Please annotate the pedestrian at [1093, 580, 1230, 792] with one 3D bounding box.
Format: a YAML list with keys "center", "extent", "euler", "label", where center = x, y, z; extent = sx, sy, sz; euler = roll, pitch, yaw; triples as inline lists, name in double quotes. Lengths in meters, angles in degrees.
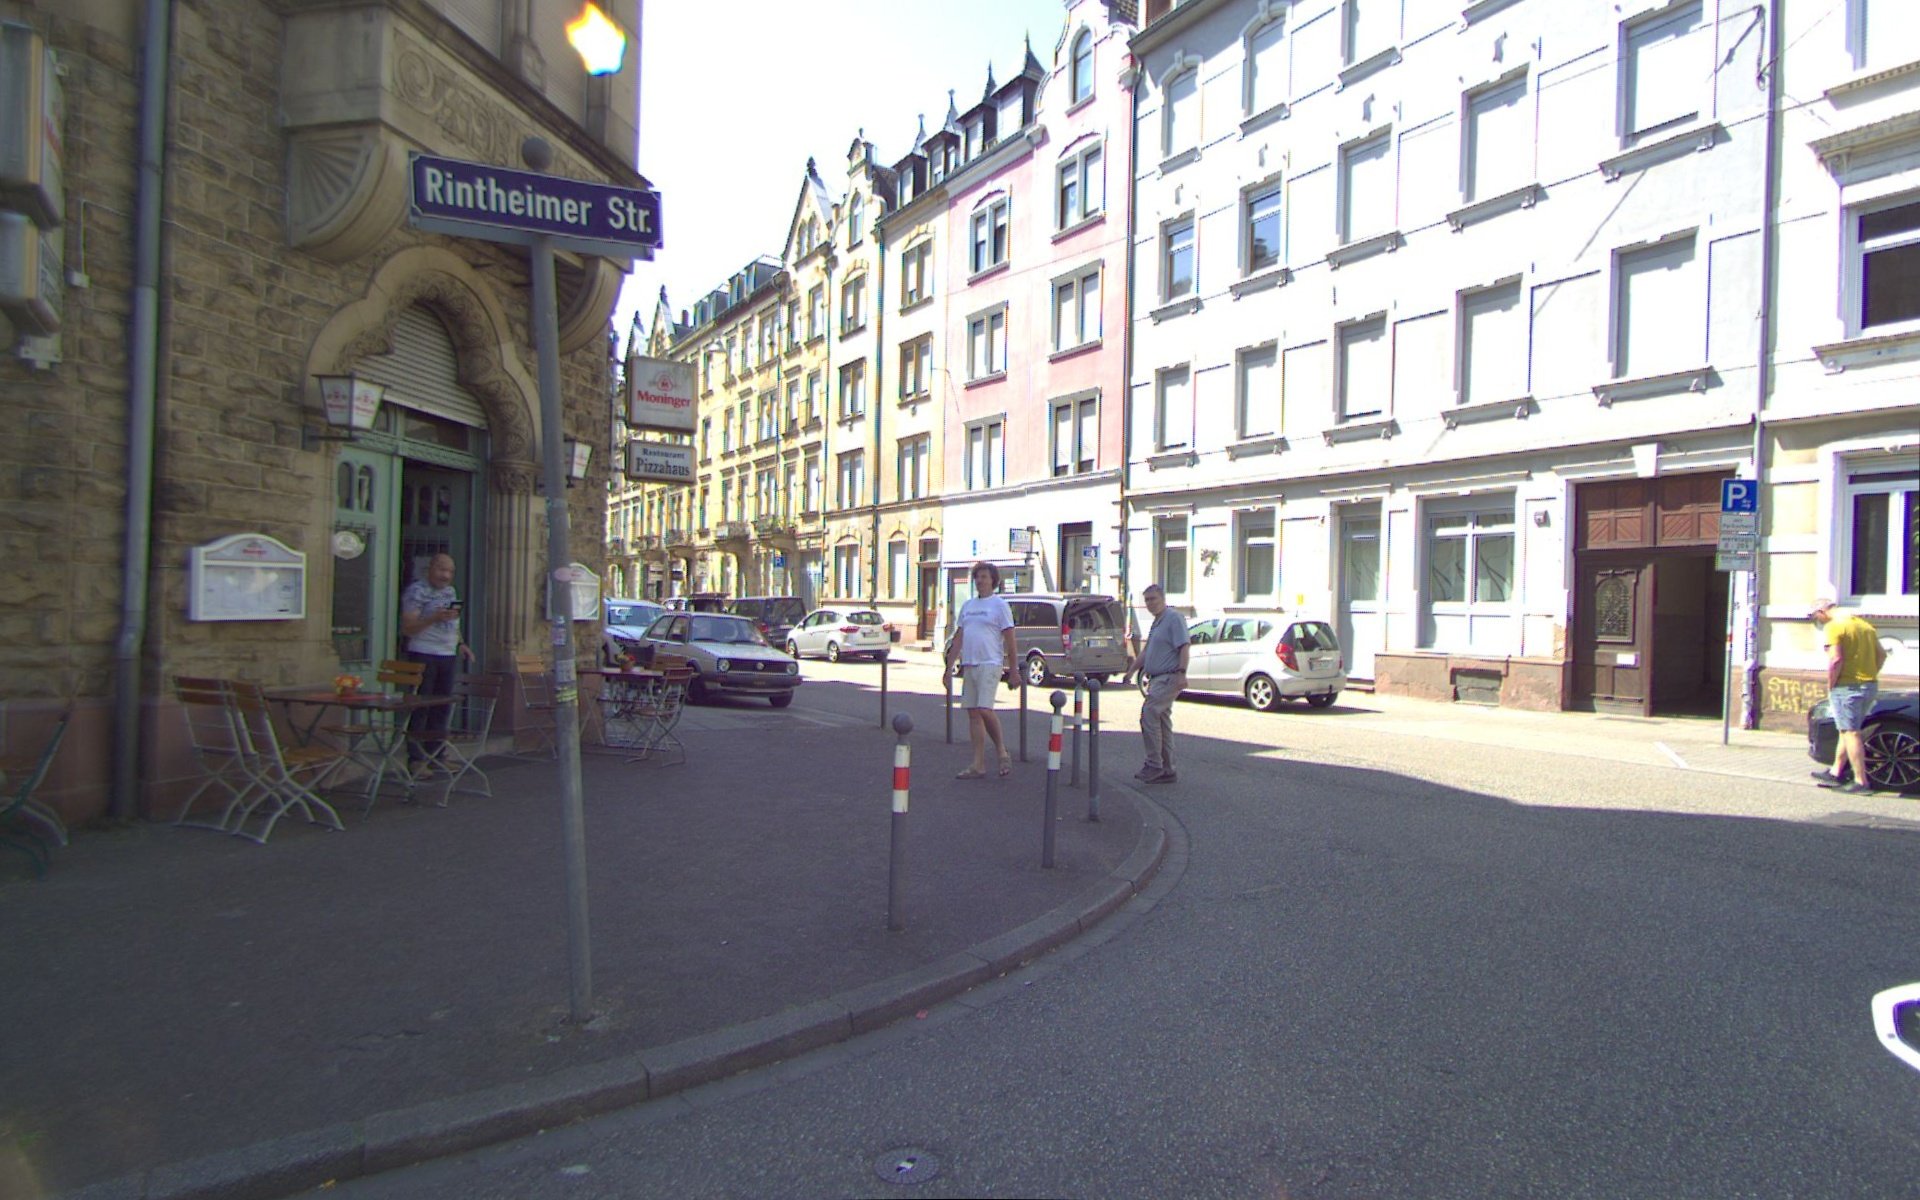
- center: [1.846, 0.769, 9.309]
  extent: [0.944, 1.838, 0.901]
  euler: [1, -1, -14]
  label: "pedestrian"

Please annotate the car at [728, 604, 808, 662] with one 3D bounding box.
- center: [-6.752, 1.119, 35.097]
  extent: [1.532, 1.910, 3.328]
  euler: [1, -1, -35]
  label: "car"

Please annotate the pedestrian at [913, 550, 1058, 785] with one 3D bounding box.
- center: [0.219, 0.568, 8.823]
  extent: [0.926, 1.914, 0.844]
  euler: [2, -1, -35]
  label: "pedestrian"

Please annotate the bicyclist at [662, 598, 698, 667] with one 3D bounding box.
- center: [-6.650, 0.766, 23.842]
  extent: [0.617, 1.619, 0.670]
  euler: [2, -1, -33]
  label: "bicyclist"

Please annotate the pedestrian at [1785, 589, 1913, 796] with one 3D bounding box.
- center: [8.479, 0.853, 9.591]
  extent: [0.676, 1.878, 0.722]
  euler: [2, -1, -26]
  label: "pedestrian"

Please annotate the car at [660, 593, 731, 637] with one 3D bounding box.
- center: [-11.203, 0.639, 42.395]
  extent: [1.705, 1.753, 3.808]
  euler: [1, -1, -35]
  label: "car"

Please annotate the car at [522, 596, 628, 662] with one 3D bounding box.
- center: [-9.610, 0.705, 24.930]
  extent: [1.622, 1.464, 3.518]
  euler: [4, -3, -35]
  label: "car"

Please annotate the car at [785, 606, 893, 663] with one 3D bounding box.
- center: [-3.741, 1.007, 30.521]
  extent: [1.705, 1.603, 3.808]
  euler: [1, -1, -35]
  label: "car"

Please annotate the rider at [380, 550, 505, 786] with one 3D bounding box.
- center: [-3.949, 0.504, 7.701]
  extent: [0.530, 1.719, 0.642]
  euler: [1, -1, 11]
  label: "rider"

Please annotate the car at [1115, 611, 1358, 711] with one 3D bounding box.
- center: [4.840, 1.020, 18.088]
  extent: [1.789, 1.582, 4.021]
  euler: [2, -2, -34]
  label: "car"

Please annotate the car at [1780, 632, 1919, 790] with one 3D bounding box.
- center: [10.498, 1.059, 8.768]
  extent: [1.979, 1.456, 4.831]
  euler: [2, -2, -33]
  label: "car"

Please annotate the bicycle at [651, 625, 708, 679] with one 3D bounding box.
- center: [-6.685, 1.211, 23.877]
  extent: [0.607, 1.203, 2.283]
  euler: [2, -2, -33]
  label: "bicycle"

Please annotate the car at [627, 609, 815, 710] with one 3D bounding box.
- center: [-4.029, 0.926, 16.529]
  extent: [1.705, 1.444, 3.808]
  euler: [4, -3, -35]
  label: "car"

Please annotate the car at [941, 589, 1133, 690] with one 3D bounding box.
- center: [1.599, 0.827, 22.624]
  extent: [1.857, 2.024, 4.677]
  euler: [0, -1, -34]
  label: "car"

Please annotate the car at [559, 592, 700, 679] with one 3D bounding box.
- center: [-6.923, 0.715, 20.803]
  extent: [1.705, 1.603, 3.808]
  euler: [4, -3, -35]
  label: "car"

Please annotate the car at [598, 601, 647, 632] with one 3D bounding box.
- center: [-17.450, 0.852, 51.844]
  extent: [1.512, 1.464, 3.255]
  euler: [4, -3, -35]
  label: "car"
